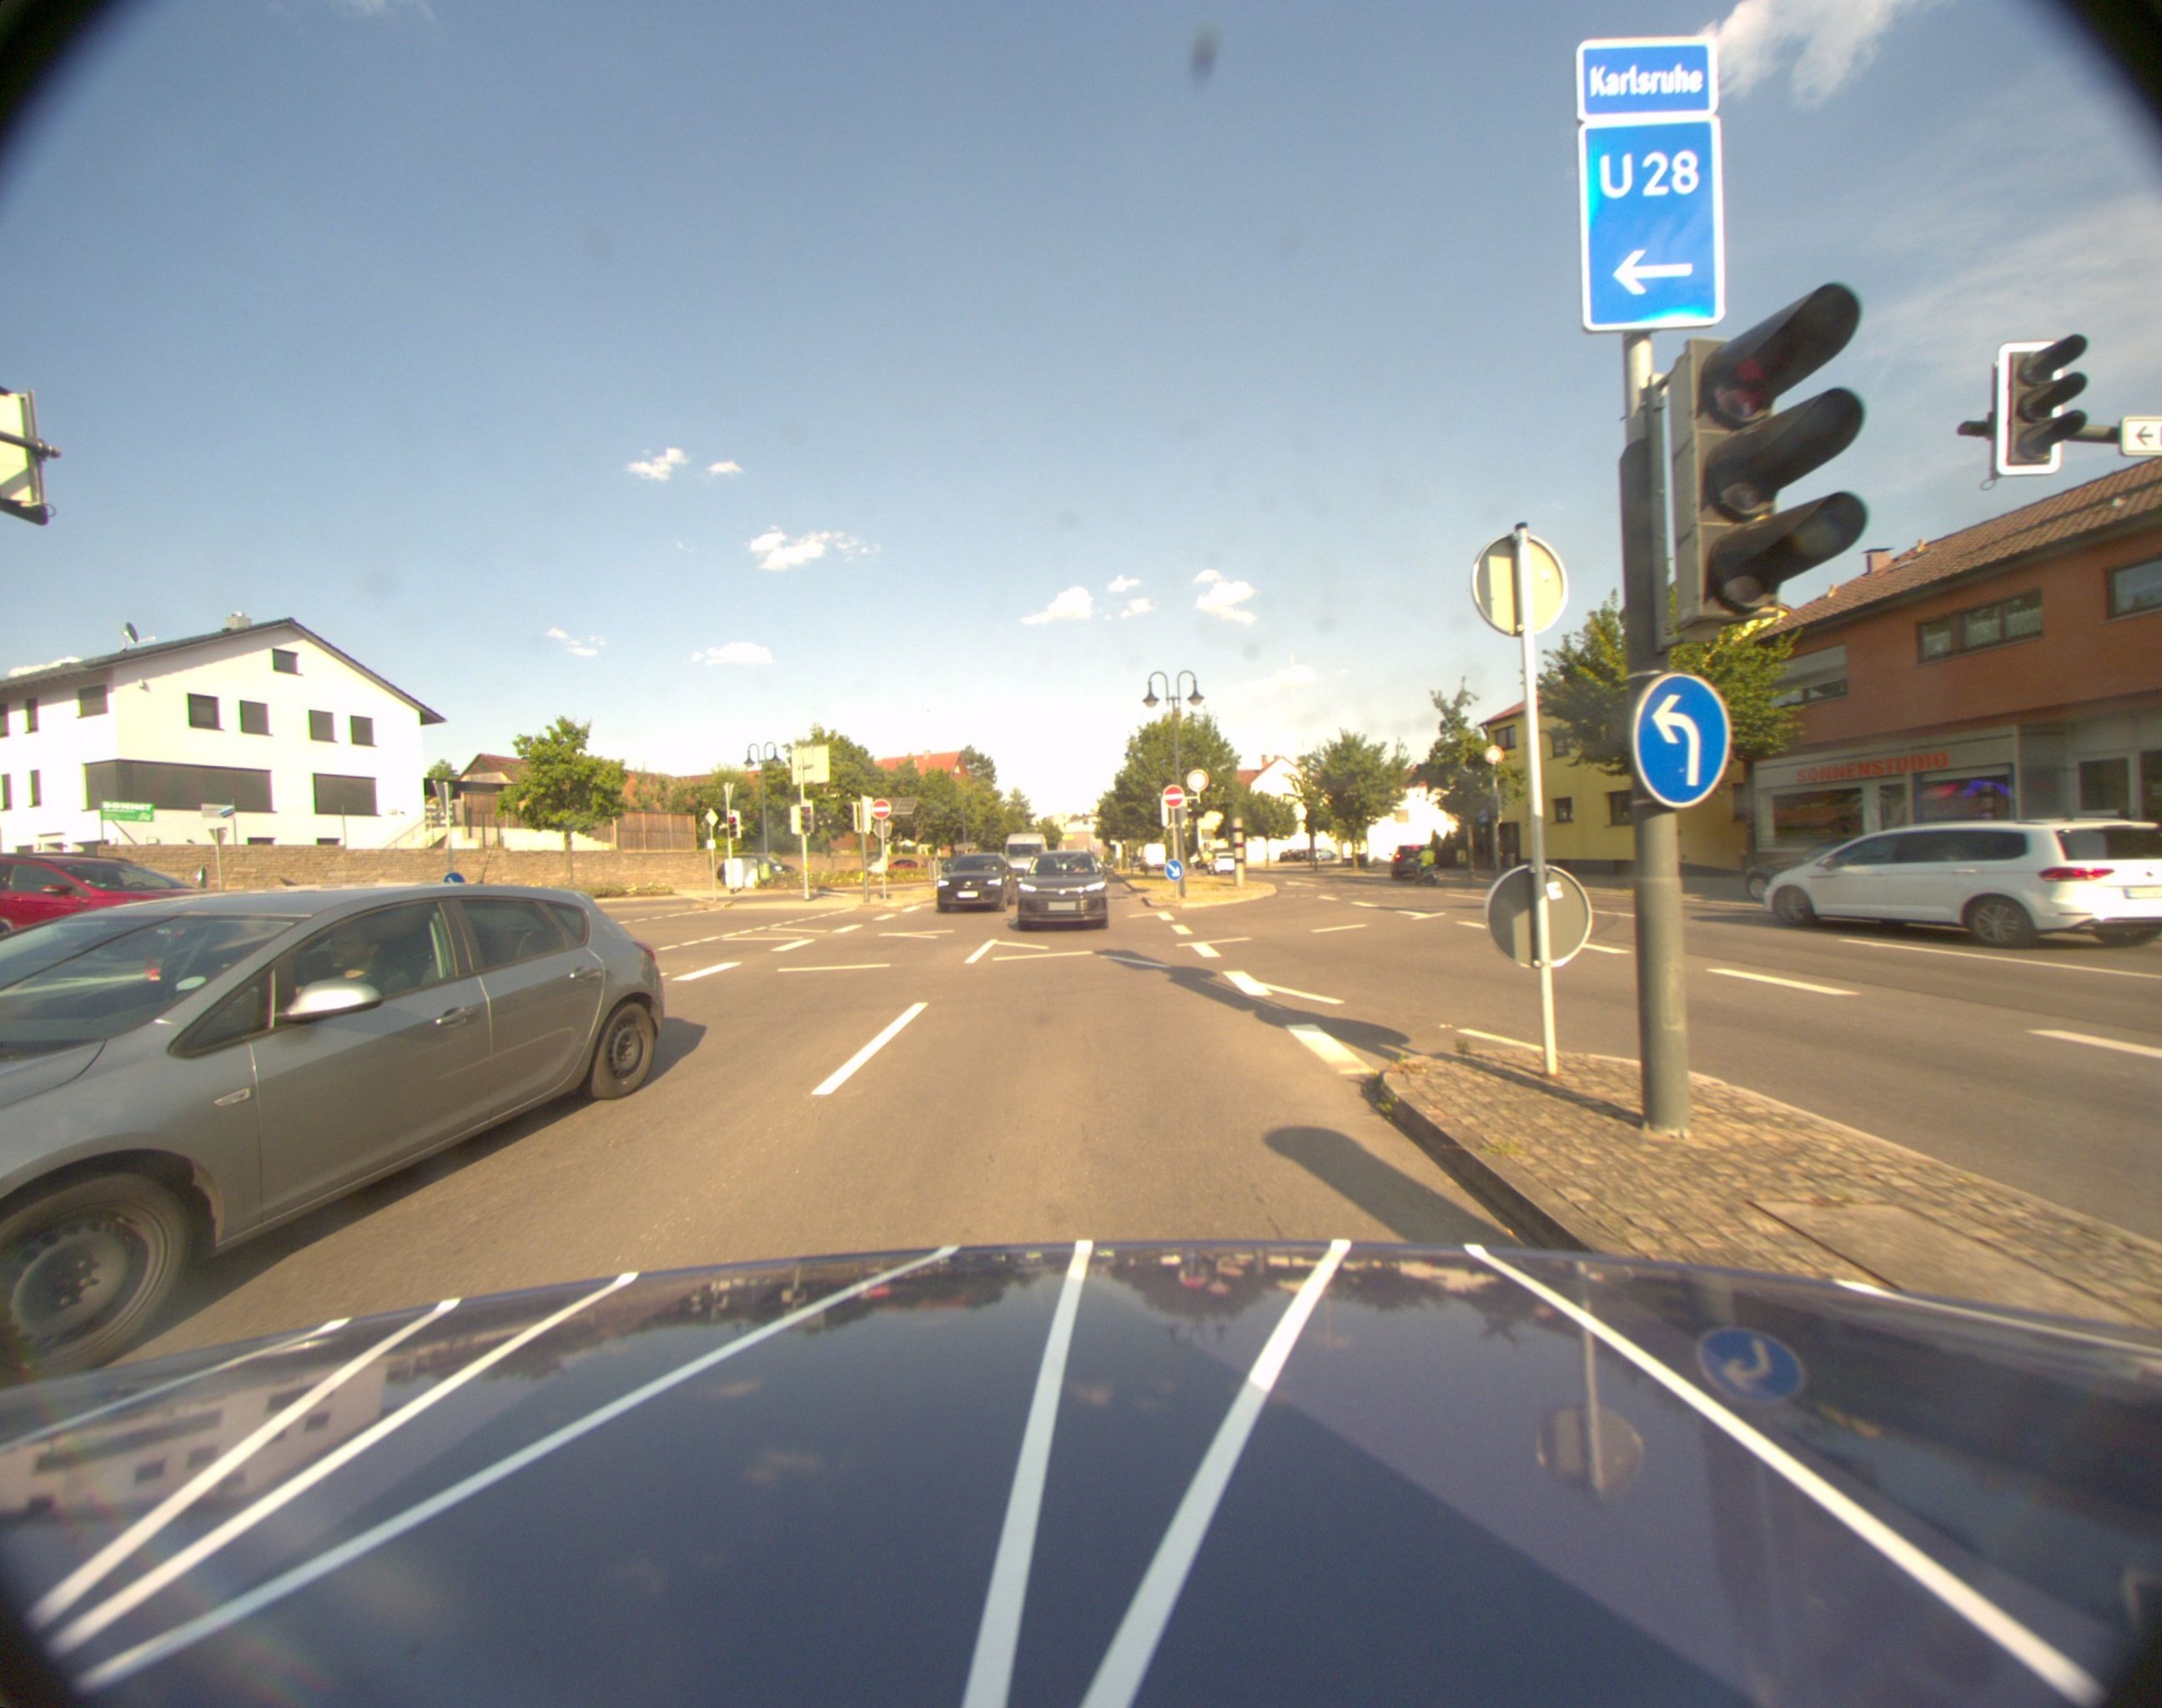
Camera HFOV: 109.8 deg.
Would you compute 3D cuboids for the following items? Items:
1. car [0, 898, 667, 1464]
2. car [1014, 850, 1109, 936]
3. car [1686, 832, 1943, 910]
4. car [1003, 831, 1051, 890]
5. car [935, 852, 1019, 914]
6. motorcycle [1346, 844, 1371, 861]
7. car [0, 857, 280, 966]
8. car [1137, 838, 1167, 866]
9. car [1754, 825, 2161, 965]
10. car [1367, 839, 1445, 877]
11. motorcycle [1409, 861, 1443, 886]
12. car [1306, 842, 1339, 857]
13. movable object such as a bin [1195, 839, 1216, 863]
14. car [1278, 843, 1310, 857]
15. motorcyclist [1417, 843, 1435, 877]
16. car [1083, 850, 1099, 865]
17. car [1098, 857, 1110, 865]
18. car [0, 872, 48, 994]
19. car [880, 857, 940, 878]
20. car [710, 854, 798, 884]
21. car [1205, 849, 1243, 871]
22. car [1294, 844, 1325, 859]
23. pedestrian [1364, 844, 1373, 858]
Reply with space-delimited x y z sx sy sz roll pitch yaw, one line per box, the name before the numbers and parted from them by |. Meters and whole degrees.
car | -3.821 1.015 3.279 1.651 1.414 4.144 0 0 2
car | -0.348 0.753 16.642 1.768 1.582 4.056 -2 0 1
car | 15.802 0.311 16.715 1.800 1.406 3.940 -4 1 0
car | -2.605 0.265 38.042 2.040 2.643 6.647 -1 1 -2
car | -2.897 0.759 22.010 1.792 1.596 4.056 -1 0 1
motorcycle | 22.630 -0.120 61.997 0.489 1.314 2.114 -2 -1 -30
car | -16.710 0.929 12.779 4.251 1.616 1.861 -2 0 -5
car | 6.772 -0.185 72.916 2.090 2.461 5.478 -2 0 -2
car | 12.558 0.455 11.026 1.690 1.602 4.413 -2 0 1
car | 14.879 0.163 35.025 1.859 1.586 4.461 -2 0 3
motorcycle | 12.688 0.695 28.006 0.413 0.855 1.763 -2 0 -1
car | 25.601 -0.497 80.529 3.438 1.534 1.617 -1 0 -38
movable object such as a bin | 13.259 -0.303 80.950 1.556 2.447 4.978 -1 0 2
car | 23.919 -0.451 85.282 3.417 1.616 1.857 0 0 -41
motorcyclist | 12.681 0.225 27.932 0.404 1.222 0.461 -2 1 0
car | 1.356 0.497 99.046 1.816 1.861 4.001 -2 0 4
car | 4.352 1.288 143.412 1.781 1.516 3.841 -2 0 7
car | -15.503 1.054 8.936 3.800 1.533 1.596 -1 1 -13
car | -12.769 0.982 56.947 3.994 1.422 1.749 -2 0 9
car | -17.528 0.812 40.778 4.072 1.448 1.680 -2 0 13
car | 9.667 0.398 51.631 1.761 1.403 4.000 -2 0 0
car | 25.082 -0.300 83.290 3.438 1.555 1.583 -2 0 -38
pedestrian | 27.852 -0.290 73.527 0.596 1.332 0.584 -2 0 -7
